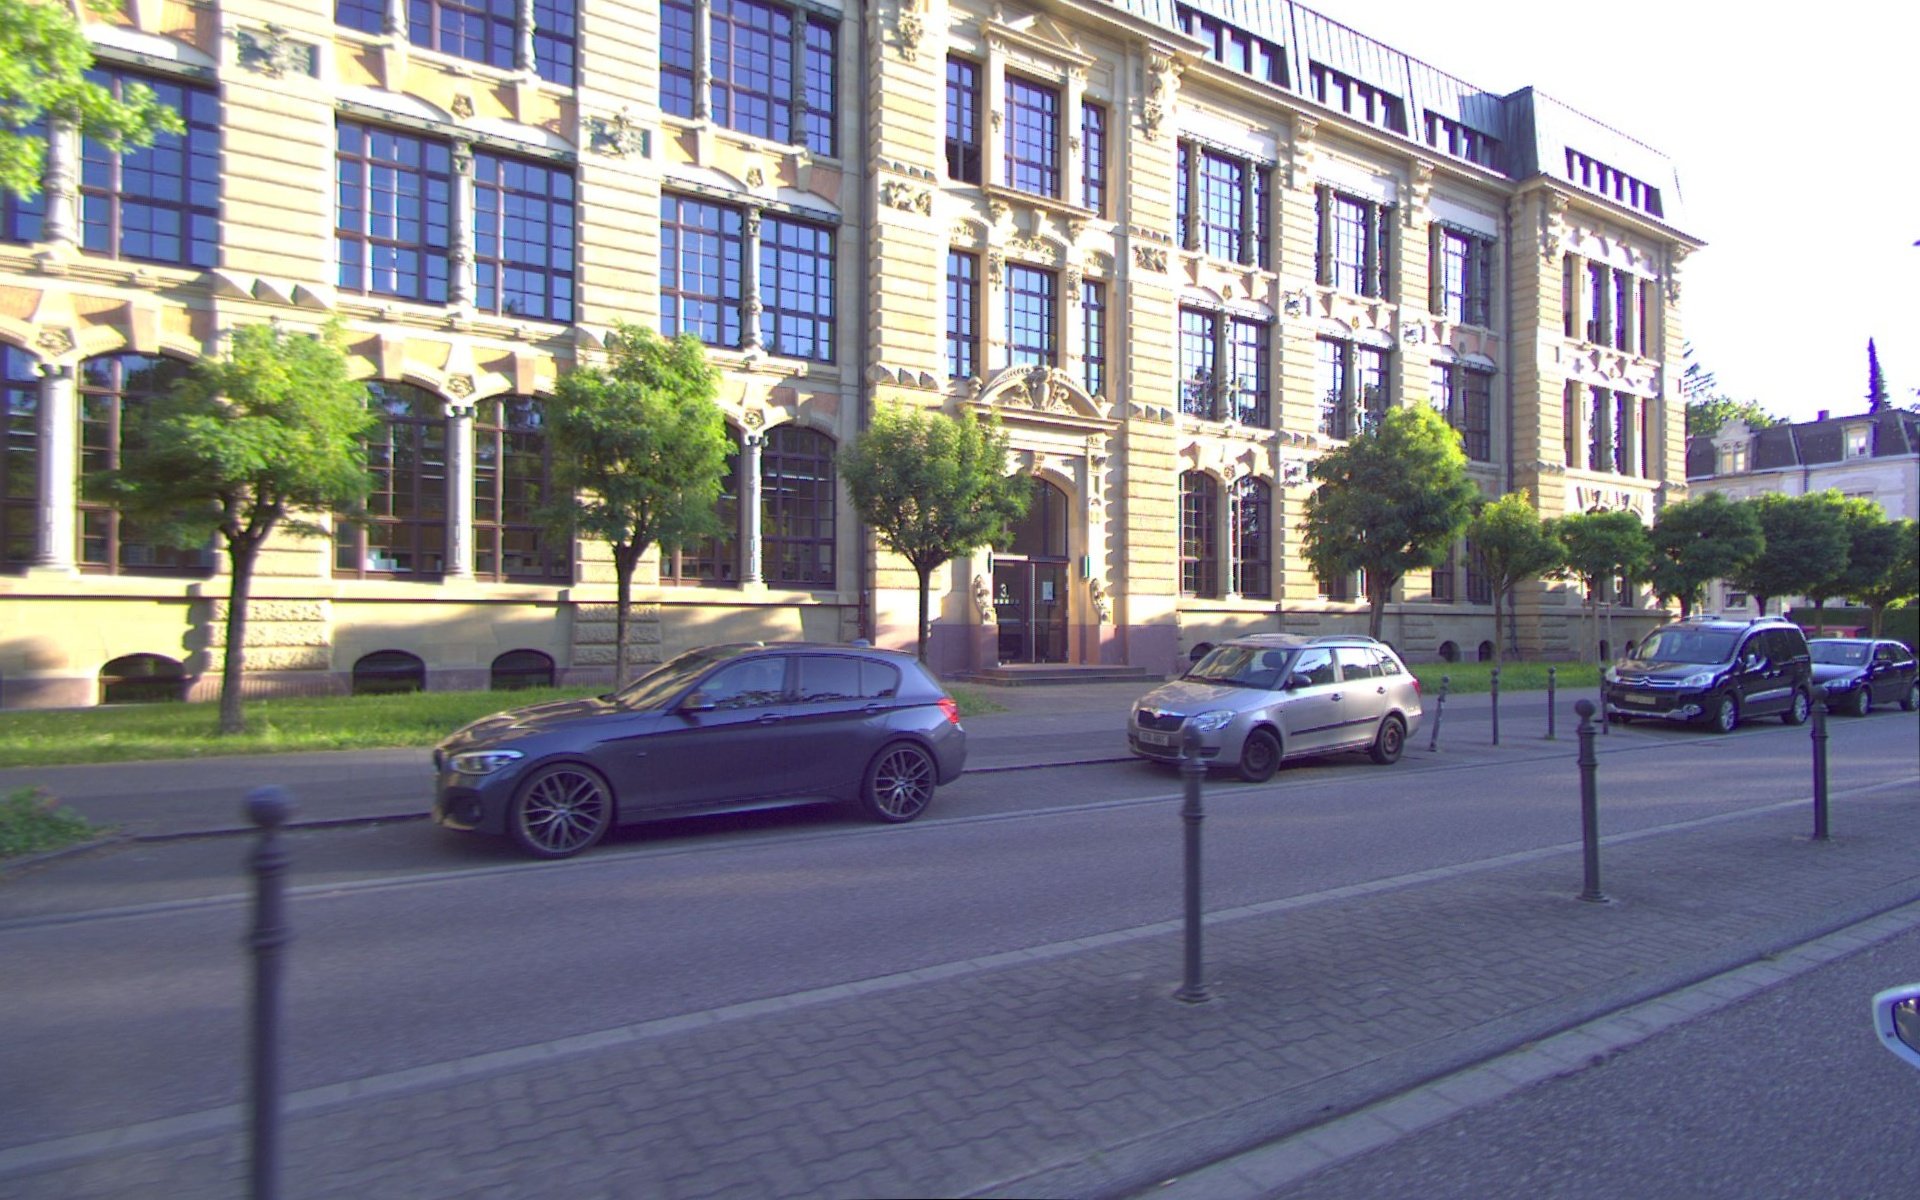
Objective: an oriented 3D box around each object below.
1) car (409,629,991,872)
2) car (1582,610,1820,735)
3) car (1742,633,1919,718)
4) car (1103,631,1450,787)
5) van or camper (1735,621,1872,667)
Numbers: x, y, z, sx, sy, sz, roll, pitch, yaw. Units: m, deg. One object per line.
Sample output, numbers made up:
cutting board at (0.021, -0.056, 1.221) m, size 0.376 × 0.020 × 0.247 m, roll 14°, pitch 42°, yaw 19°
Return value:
car at (-1.987, 1.009, 8.186) m, size 4.327 × 1.516 × 1.609 m, roll 1°, pitch -1°, yaw -31°
car at (12.838, 1.155, 17.353) m, size 4.282 × 1.891 × 1.768 m, roll 1°, pitch 1°, yaw -31°
car at (17.644, 1.451, 20.192) m, size 3.808 × 1.490 × 1.689 m, roll 1°, pitch 0°, yaw -29°
car at (3.895, 1.161, 12.053) m, size 4.334 × 1.516 × 1.707 m, roll 1°, pitch 0°, yaw -36°
van or camper at (41.684, 2.136, 49.776) m, size 1.975 × 2.012 × 4.750 m, roll -4°, pitch 0°, yaw -28°
